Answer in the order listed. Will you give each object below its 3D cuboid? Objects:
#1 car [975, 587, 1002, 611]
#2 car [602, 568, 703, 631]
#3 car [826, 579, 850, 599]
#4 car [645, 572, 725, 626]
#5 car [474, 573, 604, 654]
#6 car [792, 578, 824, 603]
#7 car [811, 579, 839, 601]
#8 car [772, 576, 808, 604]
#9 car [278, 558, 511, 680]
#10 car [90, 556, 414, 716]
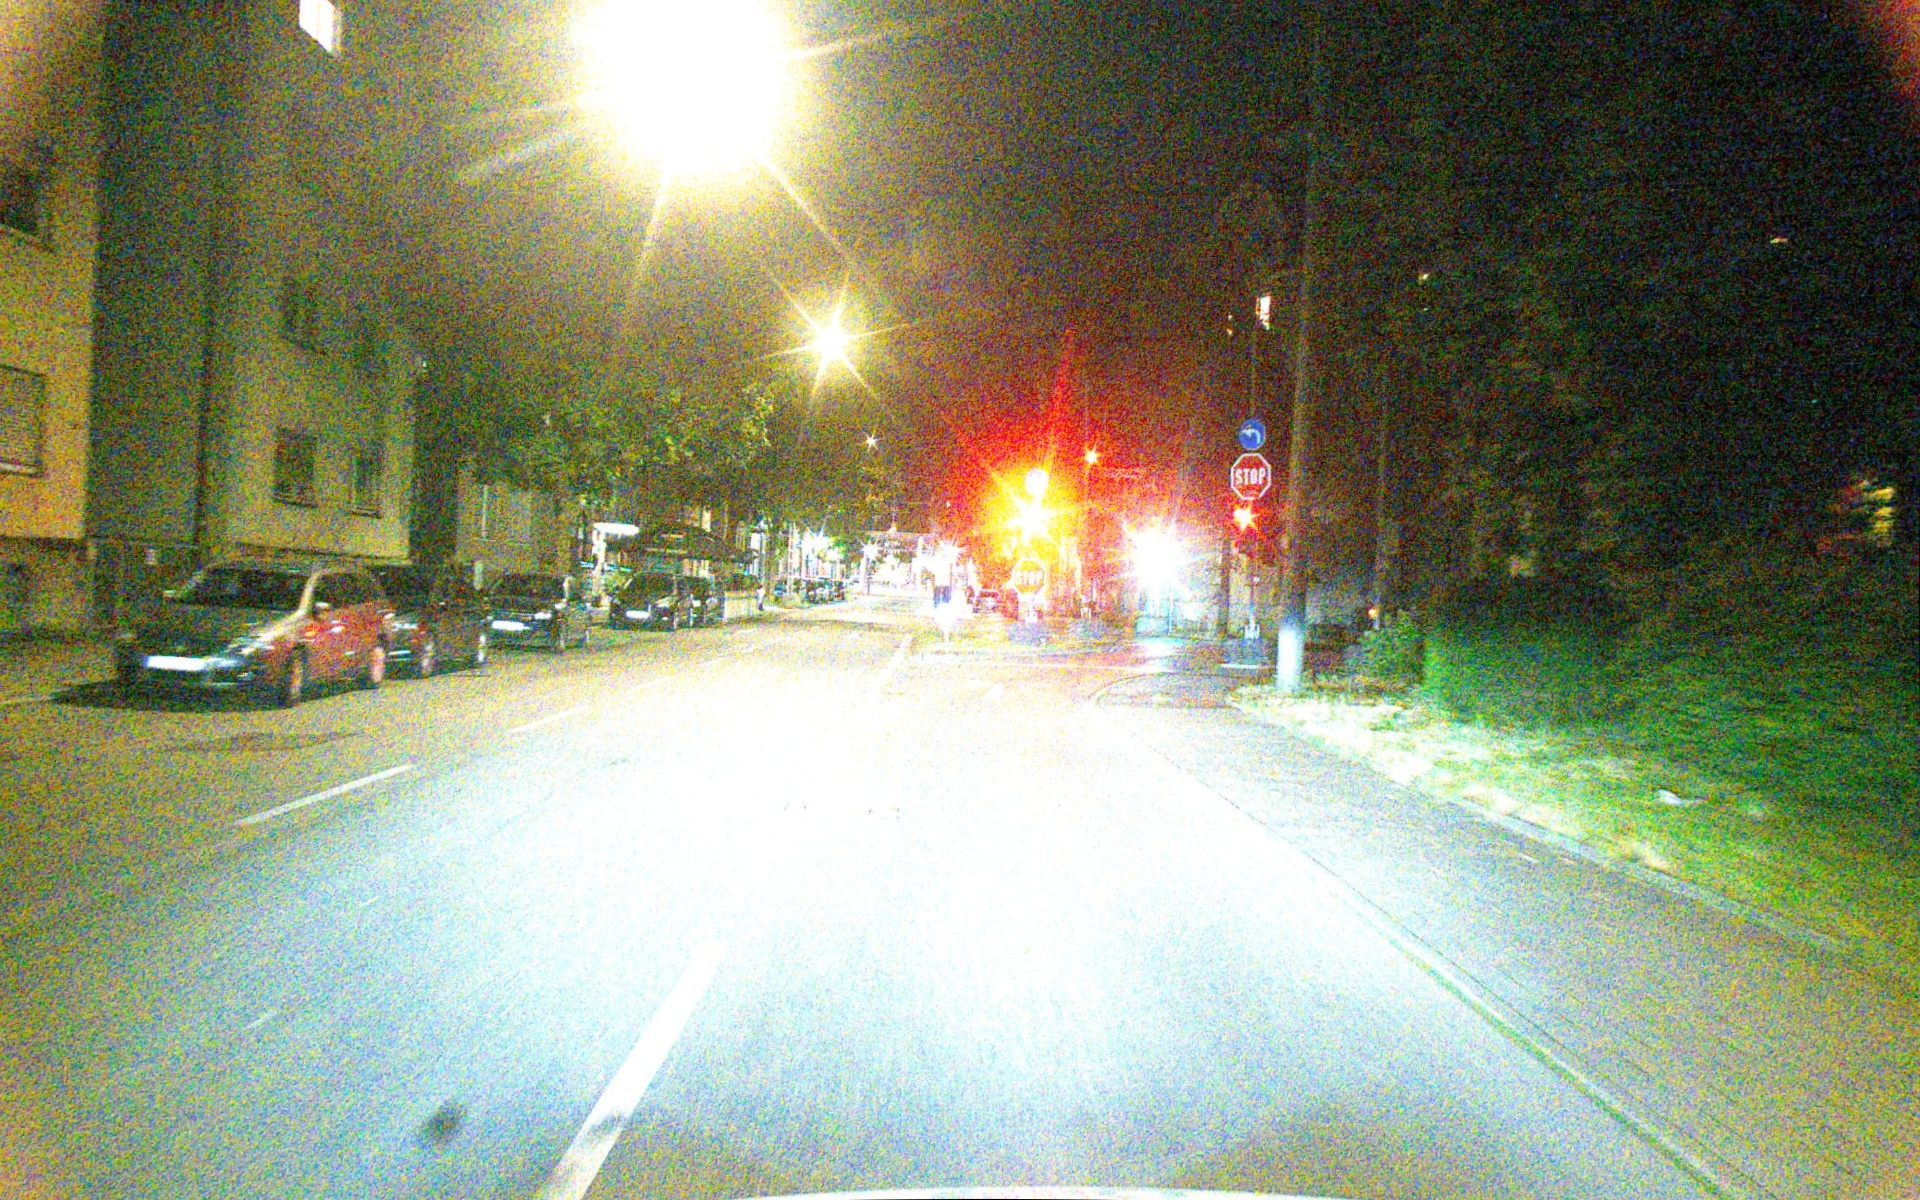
[{"bbox_3d":[1.777,-0.075,103.628,1.617,1.456,4.000,2,0,1],"label":"car"},{"bbox_3d":[-8.339,-0.049,45.194,1.861,1.497,4.452,4,1,-1],"label":"car"},{"bbox_3d":[-9.383,-0.850,127.497,1.618,1.456,3.999,2,0,-1],"label":"car"},{"bbox_3d":[-8.291,-0.030,50.191,1.767,1.507,4.322,2,0,-2],"label":"car"},{"bbox_3d":[-8.058,0.227,32.041,1.590,1.407,4.449,2,0,-4],"label":"car"},{"bbox_3d":[-9.264,-0.594,100.864,1.618,1.456,3.999,2,0,-1],"label":"car"},{"bbox_3d":[-9.284,-0.695,113.762,1.618,1.456,3.999,2,0,-1],"label":"car"},{"bbox_3d":[-9.545,-0.555,92.815,1.618,1.456,3.999,2,0,-1],"label":"car"},{"bbox_3d":[-7.931,0.234,23.700,1.732,1.511,4.862,2,0,-2],"label":"car"},{"bbox_3d":[-7.724,0.344,18.600,1.733,1.511,4.765,2,0,-3],"label":"car"}]
